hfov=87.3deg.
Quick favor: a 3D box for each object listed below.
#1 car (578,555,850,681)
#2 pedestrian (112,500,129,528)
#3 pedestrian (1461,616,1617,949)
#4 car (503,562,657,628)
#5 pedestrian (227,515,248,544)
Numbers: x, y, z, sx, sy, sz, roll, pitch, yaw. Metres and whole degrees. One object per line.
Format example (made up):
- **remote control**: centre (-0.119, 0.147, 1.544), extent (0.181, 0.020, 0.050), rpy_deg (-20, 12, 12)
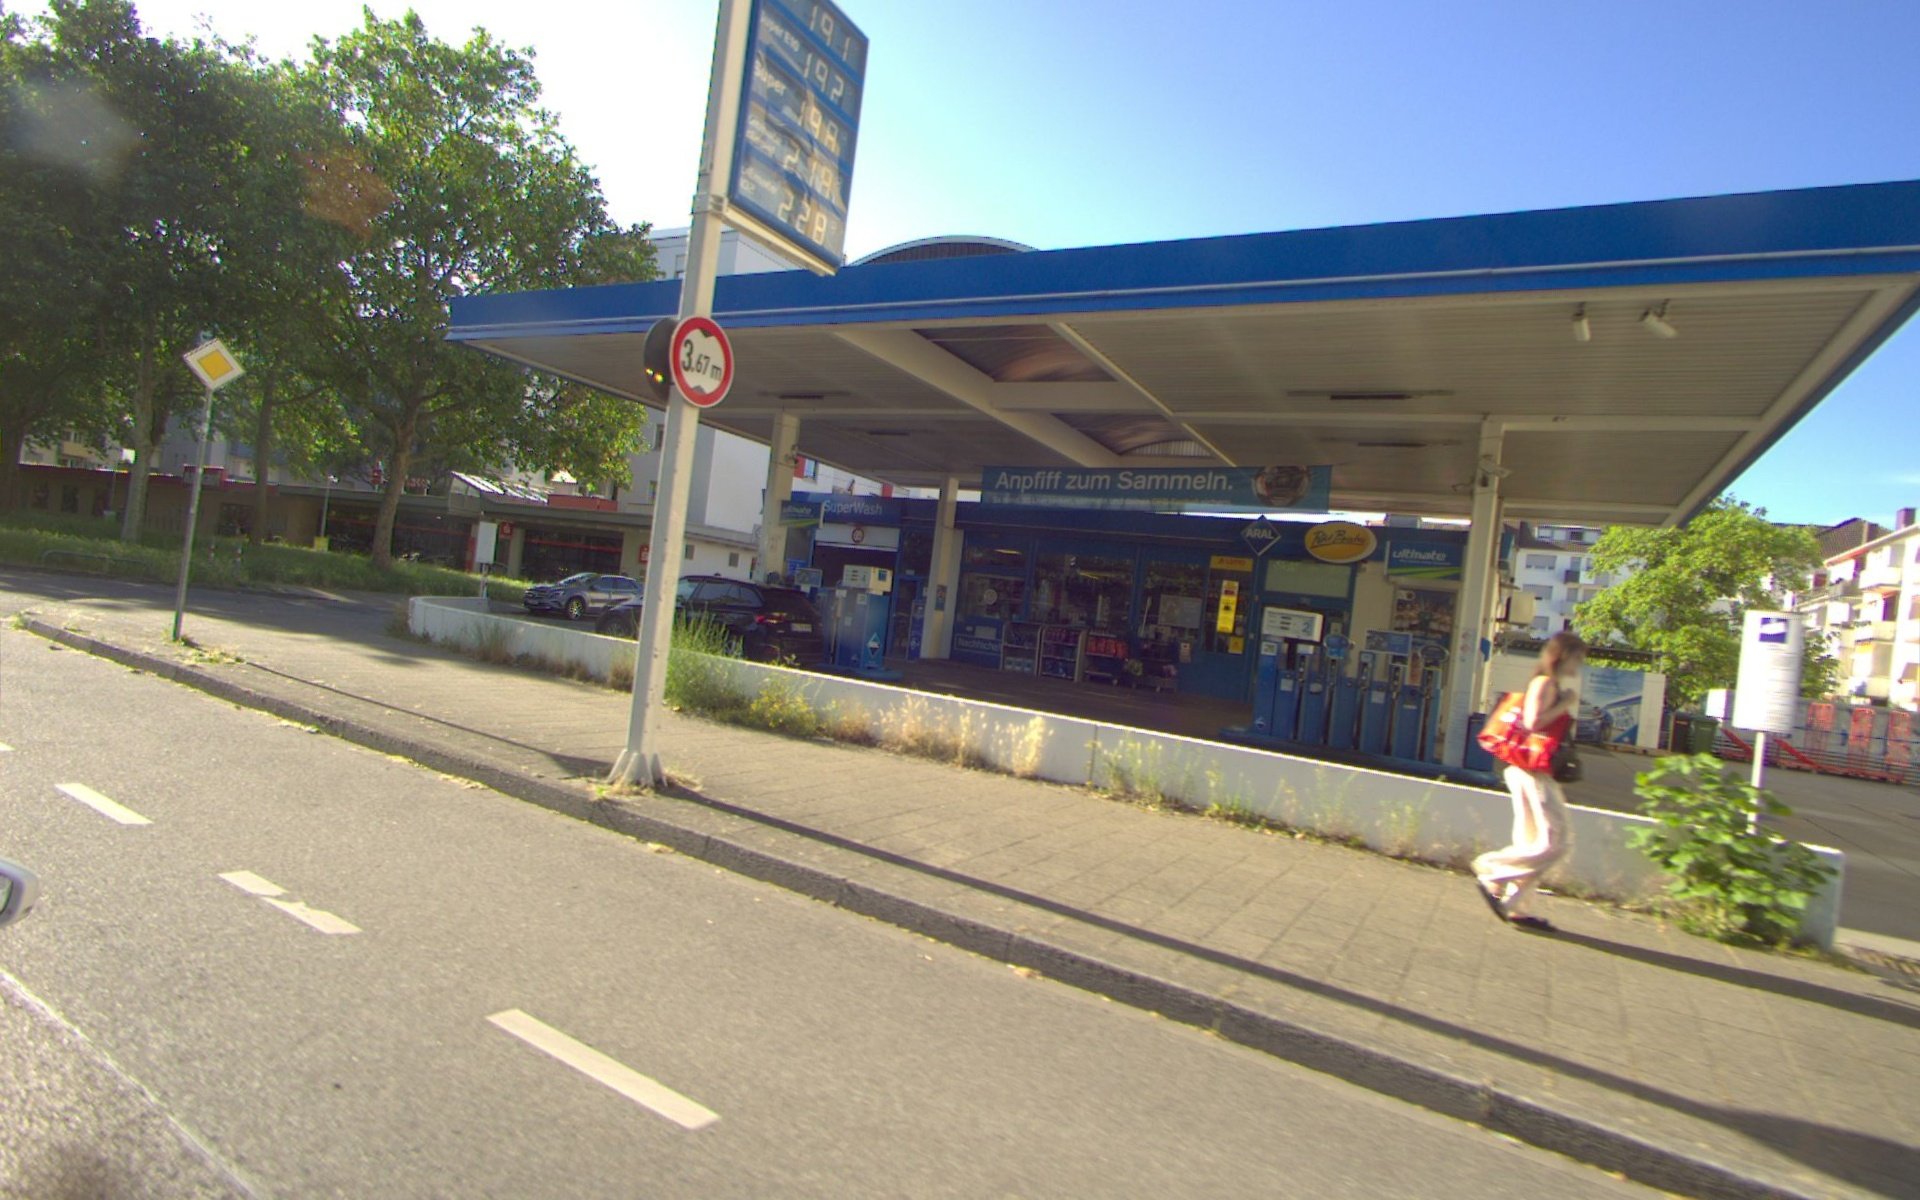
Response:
- **car**: centre (-3.980, 0.287, 16.229), extent (3.934, 1.481, 1.725), rpy_deg (7, -1, 25)
- **pedestrian**: centre (-55.275, -5.659, 66.221), extent (0.703, 1.721, 0.496), rpy_deg (8, 1, 26)
- **pedestrian**: centre (3.315, 1.000, 5.748), extent (0.544, 1.722, 0.604), rpy_deg (7, 0, 35)
- **car**: centre (-12.039, -0.114, 32.117), extent (1.950, 1.549, 4.199), rpy_deg (7, -1, 30)
- **pedestrian**: centre (-44.159, -4.294, 61.509), extent (0.703, 1.604, 0.672), rpy_deg (8, 1, 26)
